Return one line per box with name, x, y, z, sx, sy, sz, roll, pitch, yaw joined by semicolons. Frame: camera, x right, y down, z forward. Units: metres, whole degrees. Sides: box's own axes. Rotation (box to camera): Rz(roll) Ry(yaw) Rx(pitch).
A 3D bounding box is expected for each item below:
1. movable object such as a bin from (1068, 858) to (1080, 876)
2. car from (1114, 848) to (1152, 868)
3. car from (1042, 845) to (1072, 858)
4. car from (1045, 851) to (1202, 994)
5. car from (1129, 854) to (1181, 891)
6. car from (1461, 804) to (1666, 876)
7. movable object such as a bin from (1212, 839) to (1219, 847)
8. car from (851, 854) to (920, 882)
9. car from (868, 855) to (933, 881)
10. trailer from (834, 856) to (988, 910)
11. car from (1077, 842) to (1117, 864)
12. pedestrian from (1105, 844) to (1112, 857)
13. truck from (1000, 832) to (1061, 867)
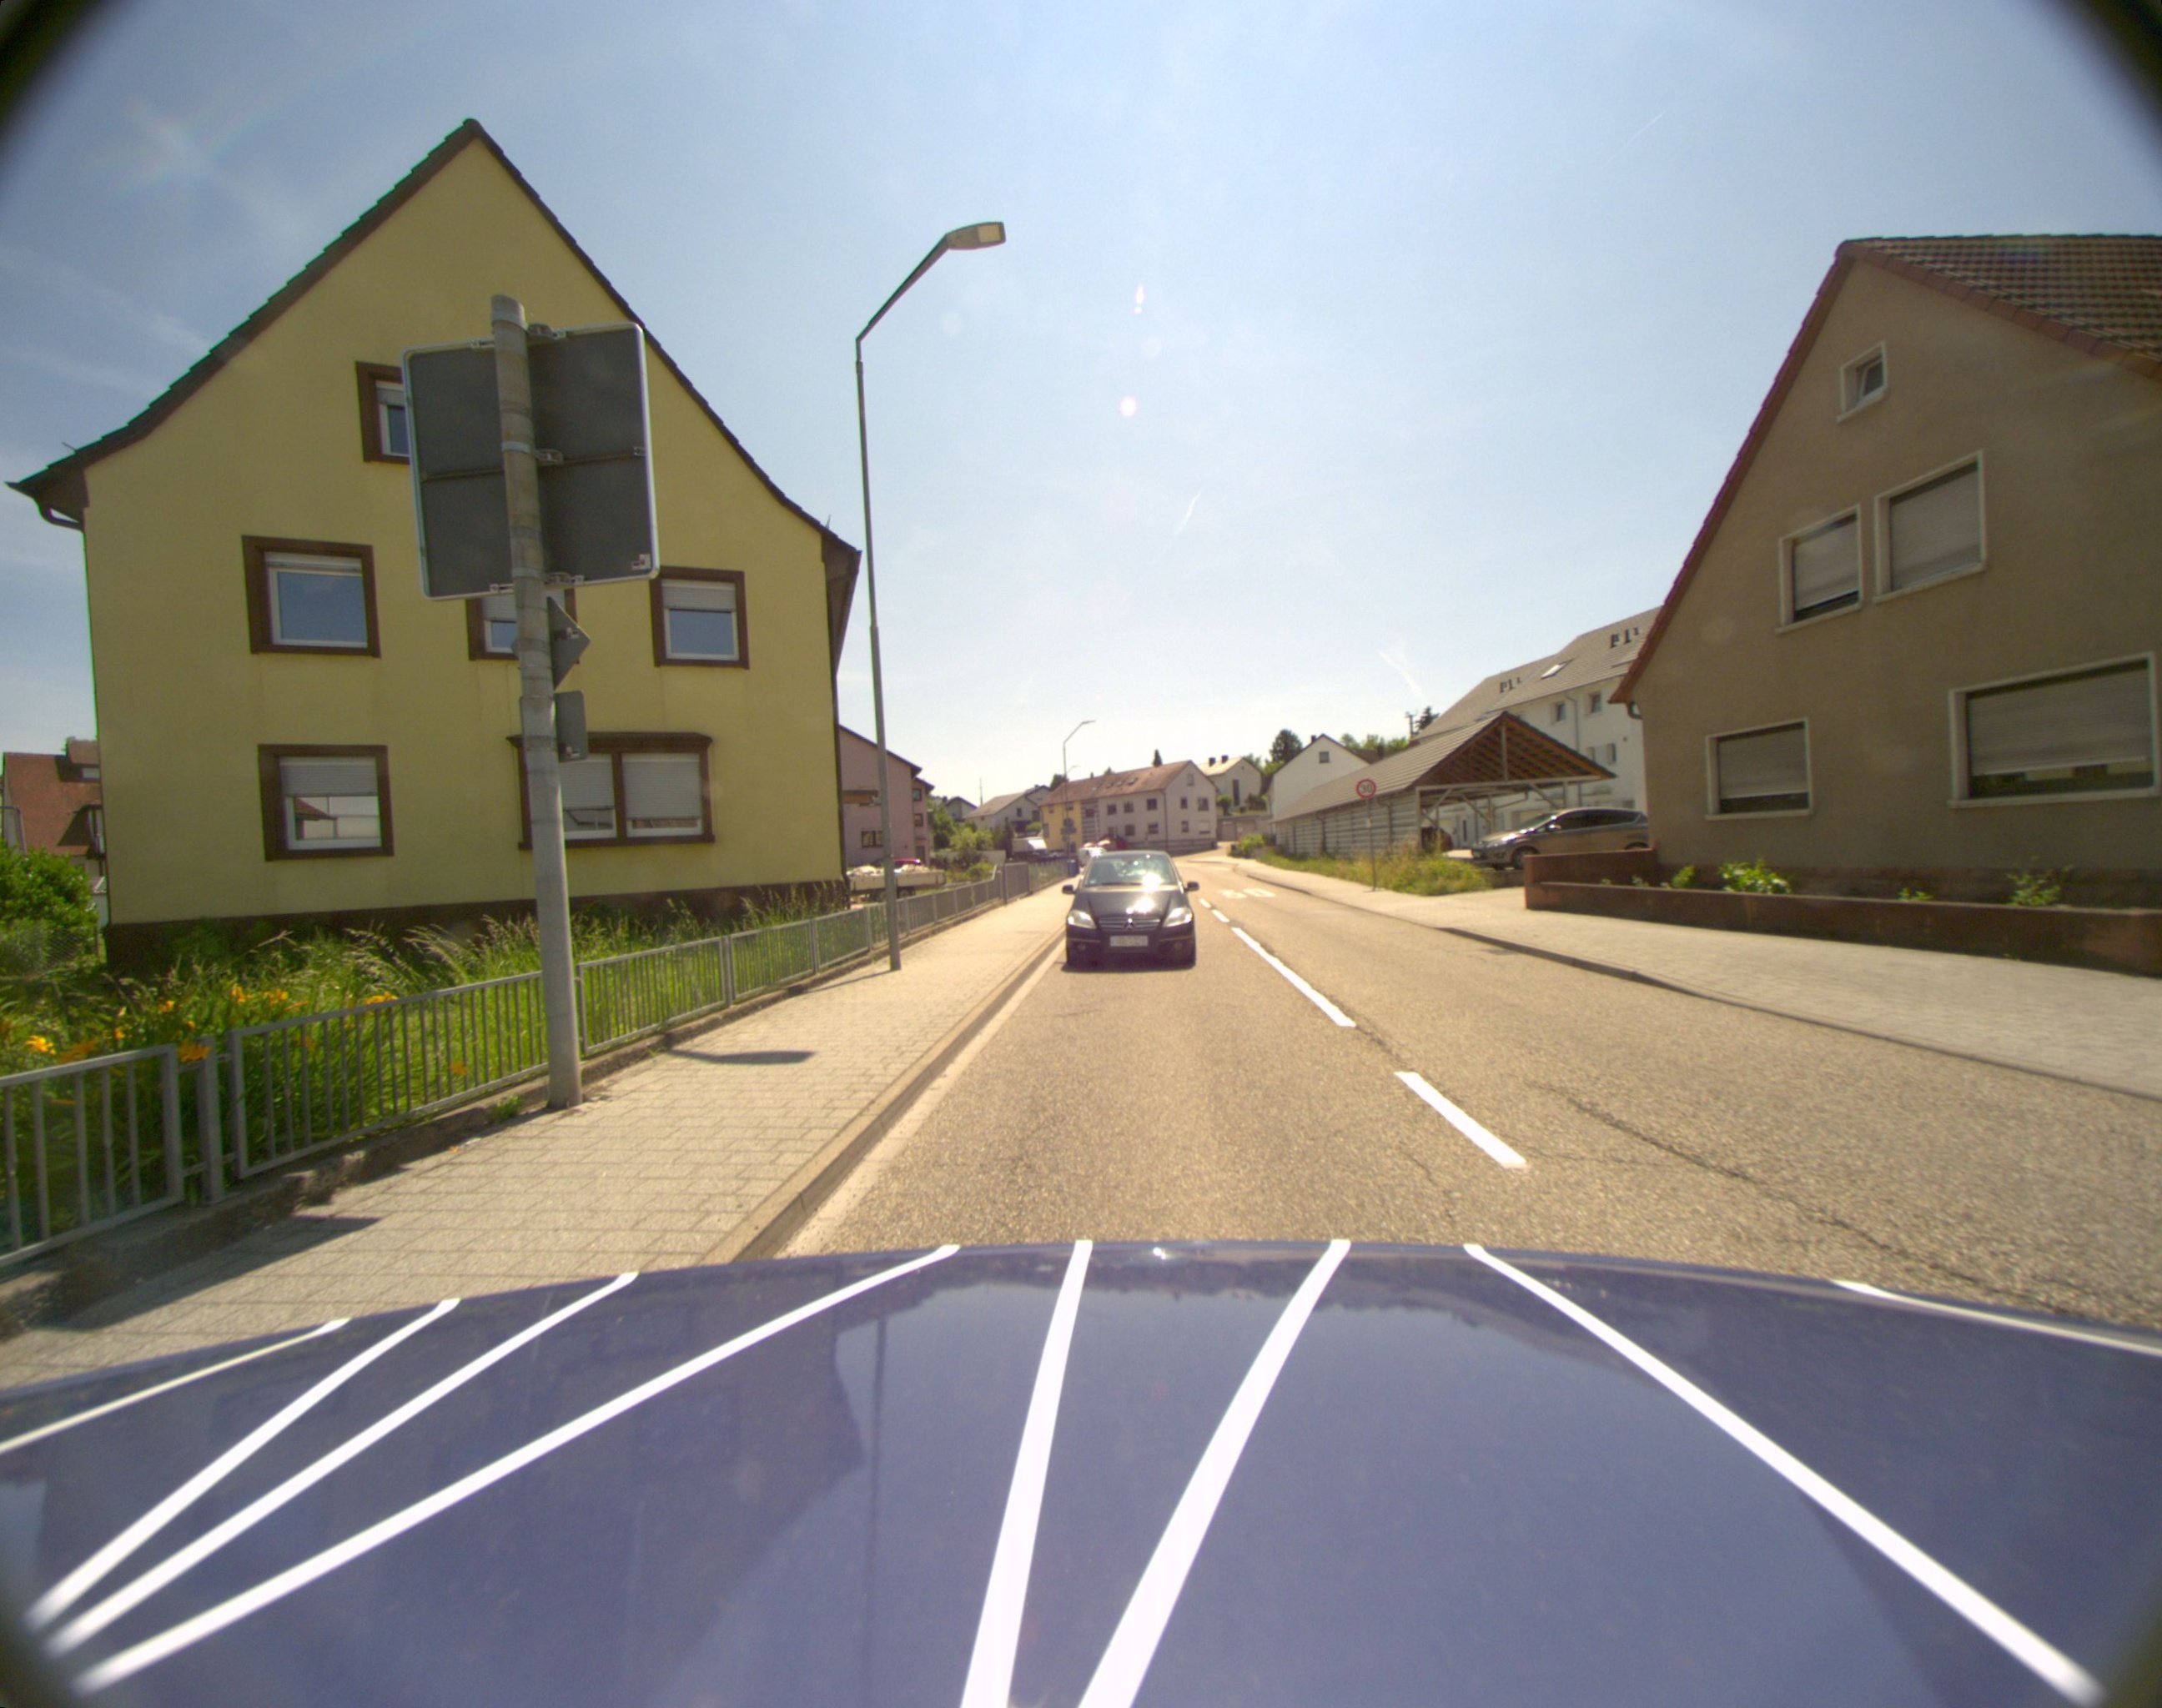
movable object such as a bin;-0.443;0.796;47.230;0.567;1.051;0.650;-3;1;-11
car;3.825;0.301;56.804;1.898;1.368;3.997;-4;0;-10
car;-3.179;-0.330;100.982;1.738;1.543;4.177;-5;2;-38
car;0.751;0.811;11.106;1.763;1.583;4.200;-4;0;7
car;3.269;0.767;33.079;1.812;1.307;4.002;-3;1;11
car;12.539;-0.359;19.998;4.133;1.629;1.866;-2;1;6
movable object such as a bin;15.784;-1.303;89.118;0.601;0.929;0.599;-4;2;-41
car;-12.957;0.920;50.331;4.129;1.539;1.847;-4;1;-22
car;-11.451;0.852;48.198;3.840;1.477;1.758;-2;1;-18
trailer;-6.507;1.046;29.132;5.369;1.537;2.134;-4;1;-24
car;1.514;-0.058;73.618;1.870;1.897;5.028;-5;1;-23
pedestrian;3.377;-0.423;92.763;0.613;1.578;0.808;-4;1;-6
truck;-6.097;-0.487;90.794;3.210;3.579;8.287;-5;1;-35
